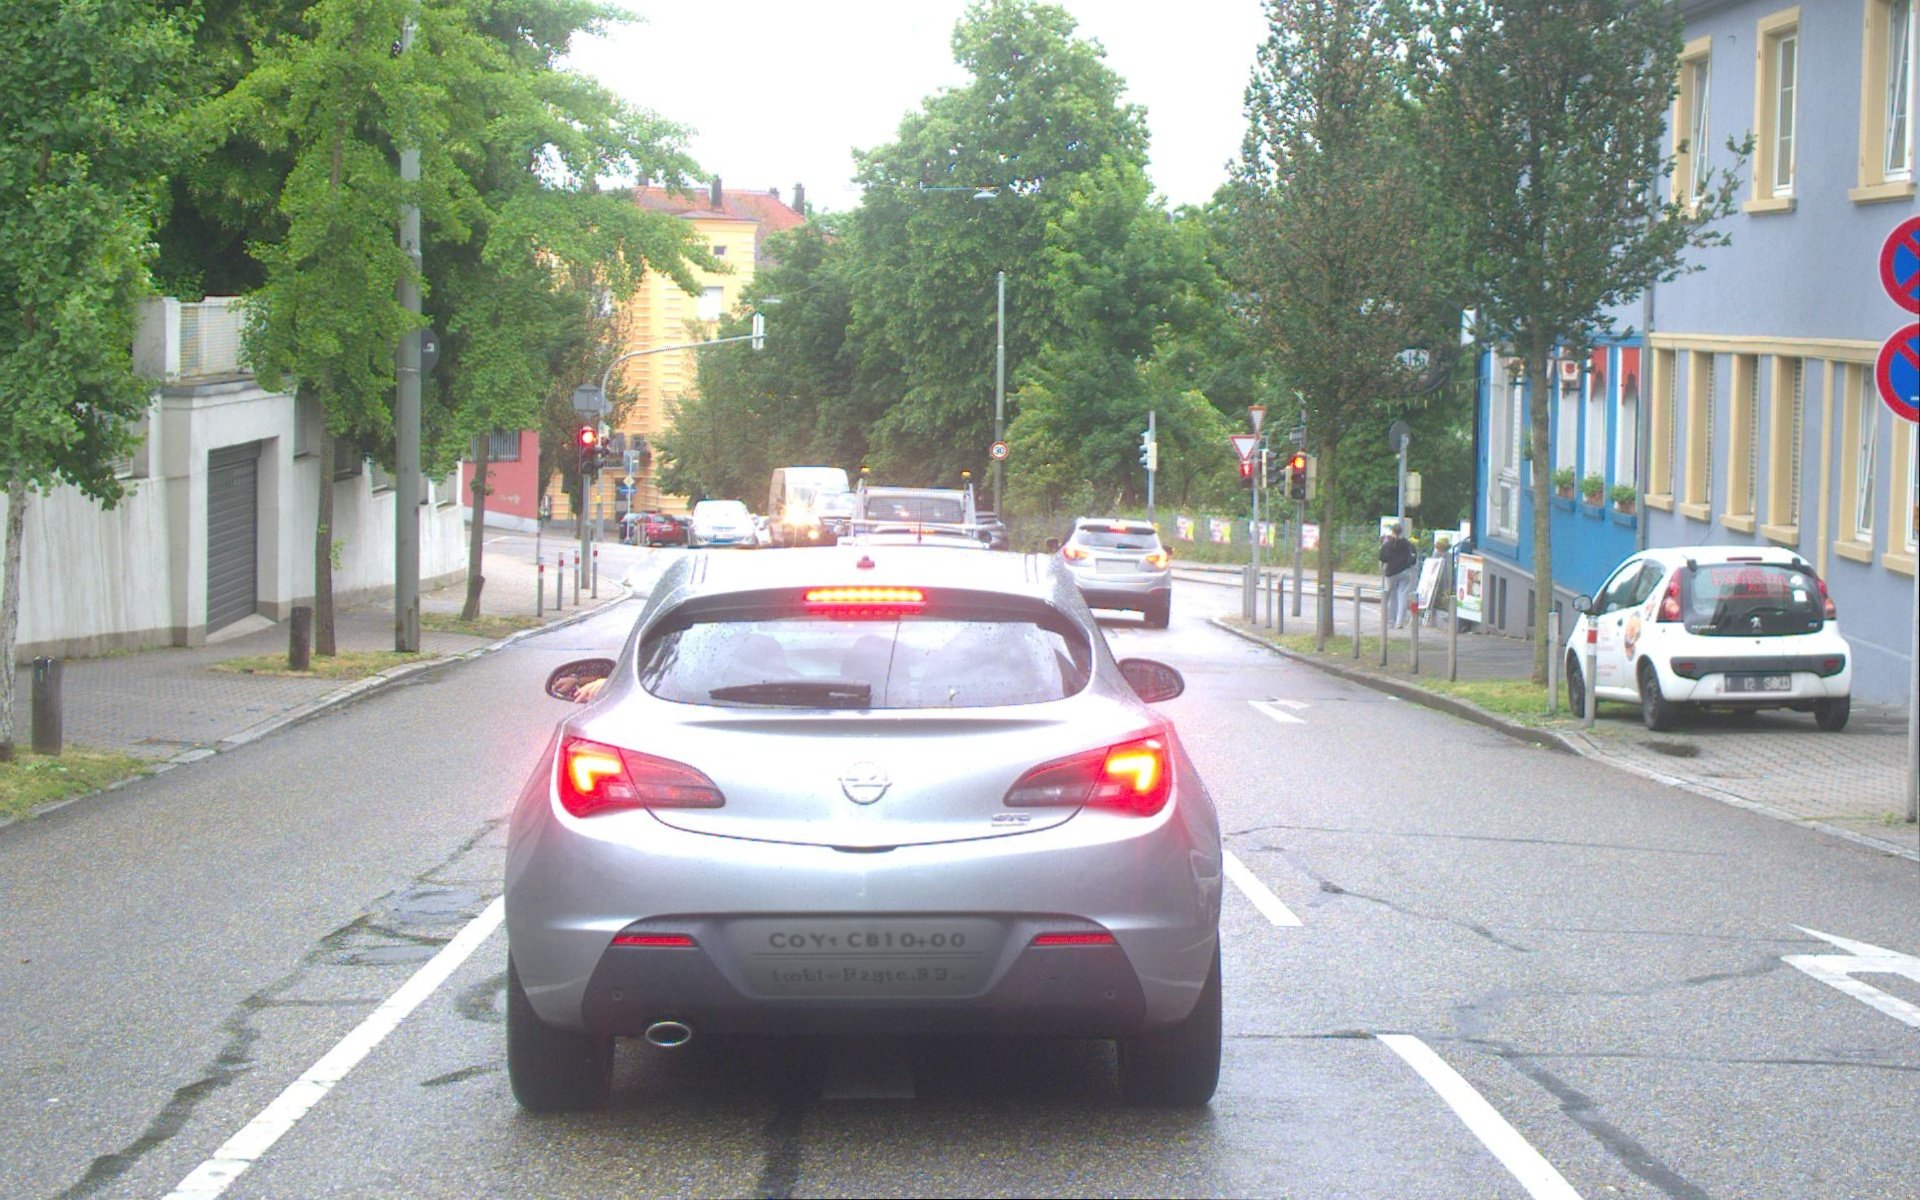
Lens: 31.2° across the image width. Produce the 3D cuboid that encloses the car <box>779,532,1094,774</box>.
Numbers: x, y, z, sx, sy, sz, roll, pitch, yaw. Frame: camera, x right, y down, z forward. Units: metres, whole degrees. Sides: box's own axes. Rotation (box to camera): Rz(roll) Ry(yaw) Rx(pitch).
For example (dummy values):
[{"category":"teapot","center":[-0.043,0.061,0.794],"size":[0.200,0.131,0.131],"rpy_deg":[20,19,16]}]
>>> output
[{"category":"car","center":[-0.214,0.299,24.063],"size":[1.962,1.443,4.306],"rpy_deg":[2,1,-2]}]

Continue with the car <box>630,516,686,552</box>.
[{"category":"car","center":[-13.895,-3.053,158.101],"size":[1.722,1.632,3.881],"rpy_deg":[0,1,-18]}]

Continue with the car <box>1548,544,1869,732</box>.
[{"category":"car","center":[6.157,0.266,28.702],"size":[1.722,1.443,3.880],"rpy_deg":[0,1,-2]}]

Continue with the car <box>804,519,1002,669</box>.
[{"category":"car","center":[-0.640,-0.113,37.101],"size":[1.962,1.443,4.306],"rpy_deg":[2,1,-2]}]

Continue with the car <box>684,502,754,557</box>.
[{"category":"car","center":[-6.468,-1.908,92.583],"size":[1.722,1.455,3.880],"rpy_deg":[0,1,-2]}]

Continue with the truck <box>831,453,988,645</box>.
[{"category":"truck","center":[-0.729,-0.725,47.093],"size":[1.962,2.420,4.936],"rpy_deg":[2,1,-2]}]

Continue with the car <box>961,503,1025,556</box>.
[{"category":"car","center":[1.024,-2.236,108.894],"size":[1.722,1.632,3.880],"rpy_deg":[0,1,-4]}]

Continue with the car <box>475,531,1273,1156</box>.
[{"category":"car","center":[-0.280,0.533,9.952],"size":[1.837,1.429,3.880],"rpy_deg":[1,1,-2]}]

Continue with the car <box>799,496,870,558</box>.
[{"category":"car","center":[-3.374,-1.966,92.602],"size":[1.870,1.632,3.880],"rpy_deg":[0,1,-2]}]

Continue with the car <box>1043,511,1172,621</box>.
[{"category":"car","center":[2.327,-0.566,55.128],"size":[1.722,1.708,3.880],"rpy_deg":[0,1,-2]}]

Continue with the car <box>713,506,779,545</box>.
[{"category":"car","center":[-8.690,-3.018,139.331],"size":[1.722,1.538,3.881],"rpy_deg":[0,1,-18]}]

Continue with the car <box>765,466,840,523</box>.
[{"category":"car","center":[-4.609,-3.052,100.223],"size":[1.722,1.632,3.881],"rpy_deg":[0,1,-9]}]

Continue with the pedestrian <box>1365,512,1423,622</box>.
[{"category":"pedestrian","center":[6.996,-0.538,55.401],"size":[0.783,1.723,0.651],"rpy_deg":[2,1,0]}]

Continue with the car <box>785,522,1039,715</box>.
[{"category":"car","center":[-0.444,0.101,29.442],"size":[1.962,1.443,4.306],"rpy_deg":[2,1,-2]}]

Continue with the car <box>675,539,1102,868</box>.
[{"category":"car","center":[-0.401,0.450,18.343],"size":[1.962,1.443,4.306],"rpy_deg":[2,1,-2]}]
